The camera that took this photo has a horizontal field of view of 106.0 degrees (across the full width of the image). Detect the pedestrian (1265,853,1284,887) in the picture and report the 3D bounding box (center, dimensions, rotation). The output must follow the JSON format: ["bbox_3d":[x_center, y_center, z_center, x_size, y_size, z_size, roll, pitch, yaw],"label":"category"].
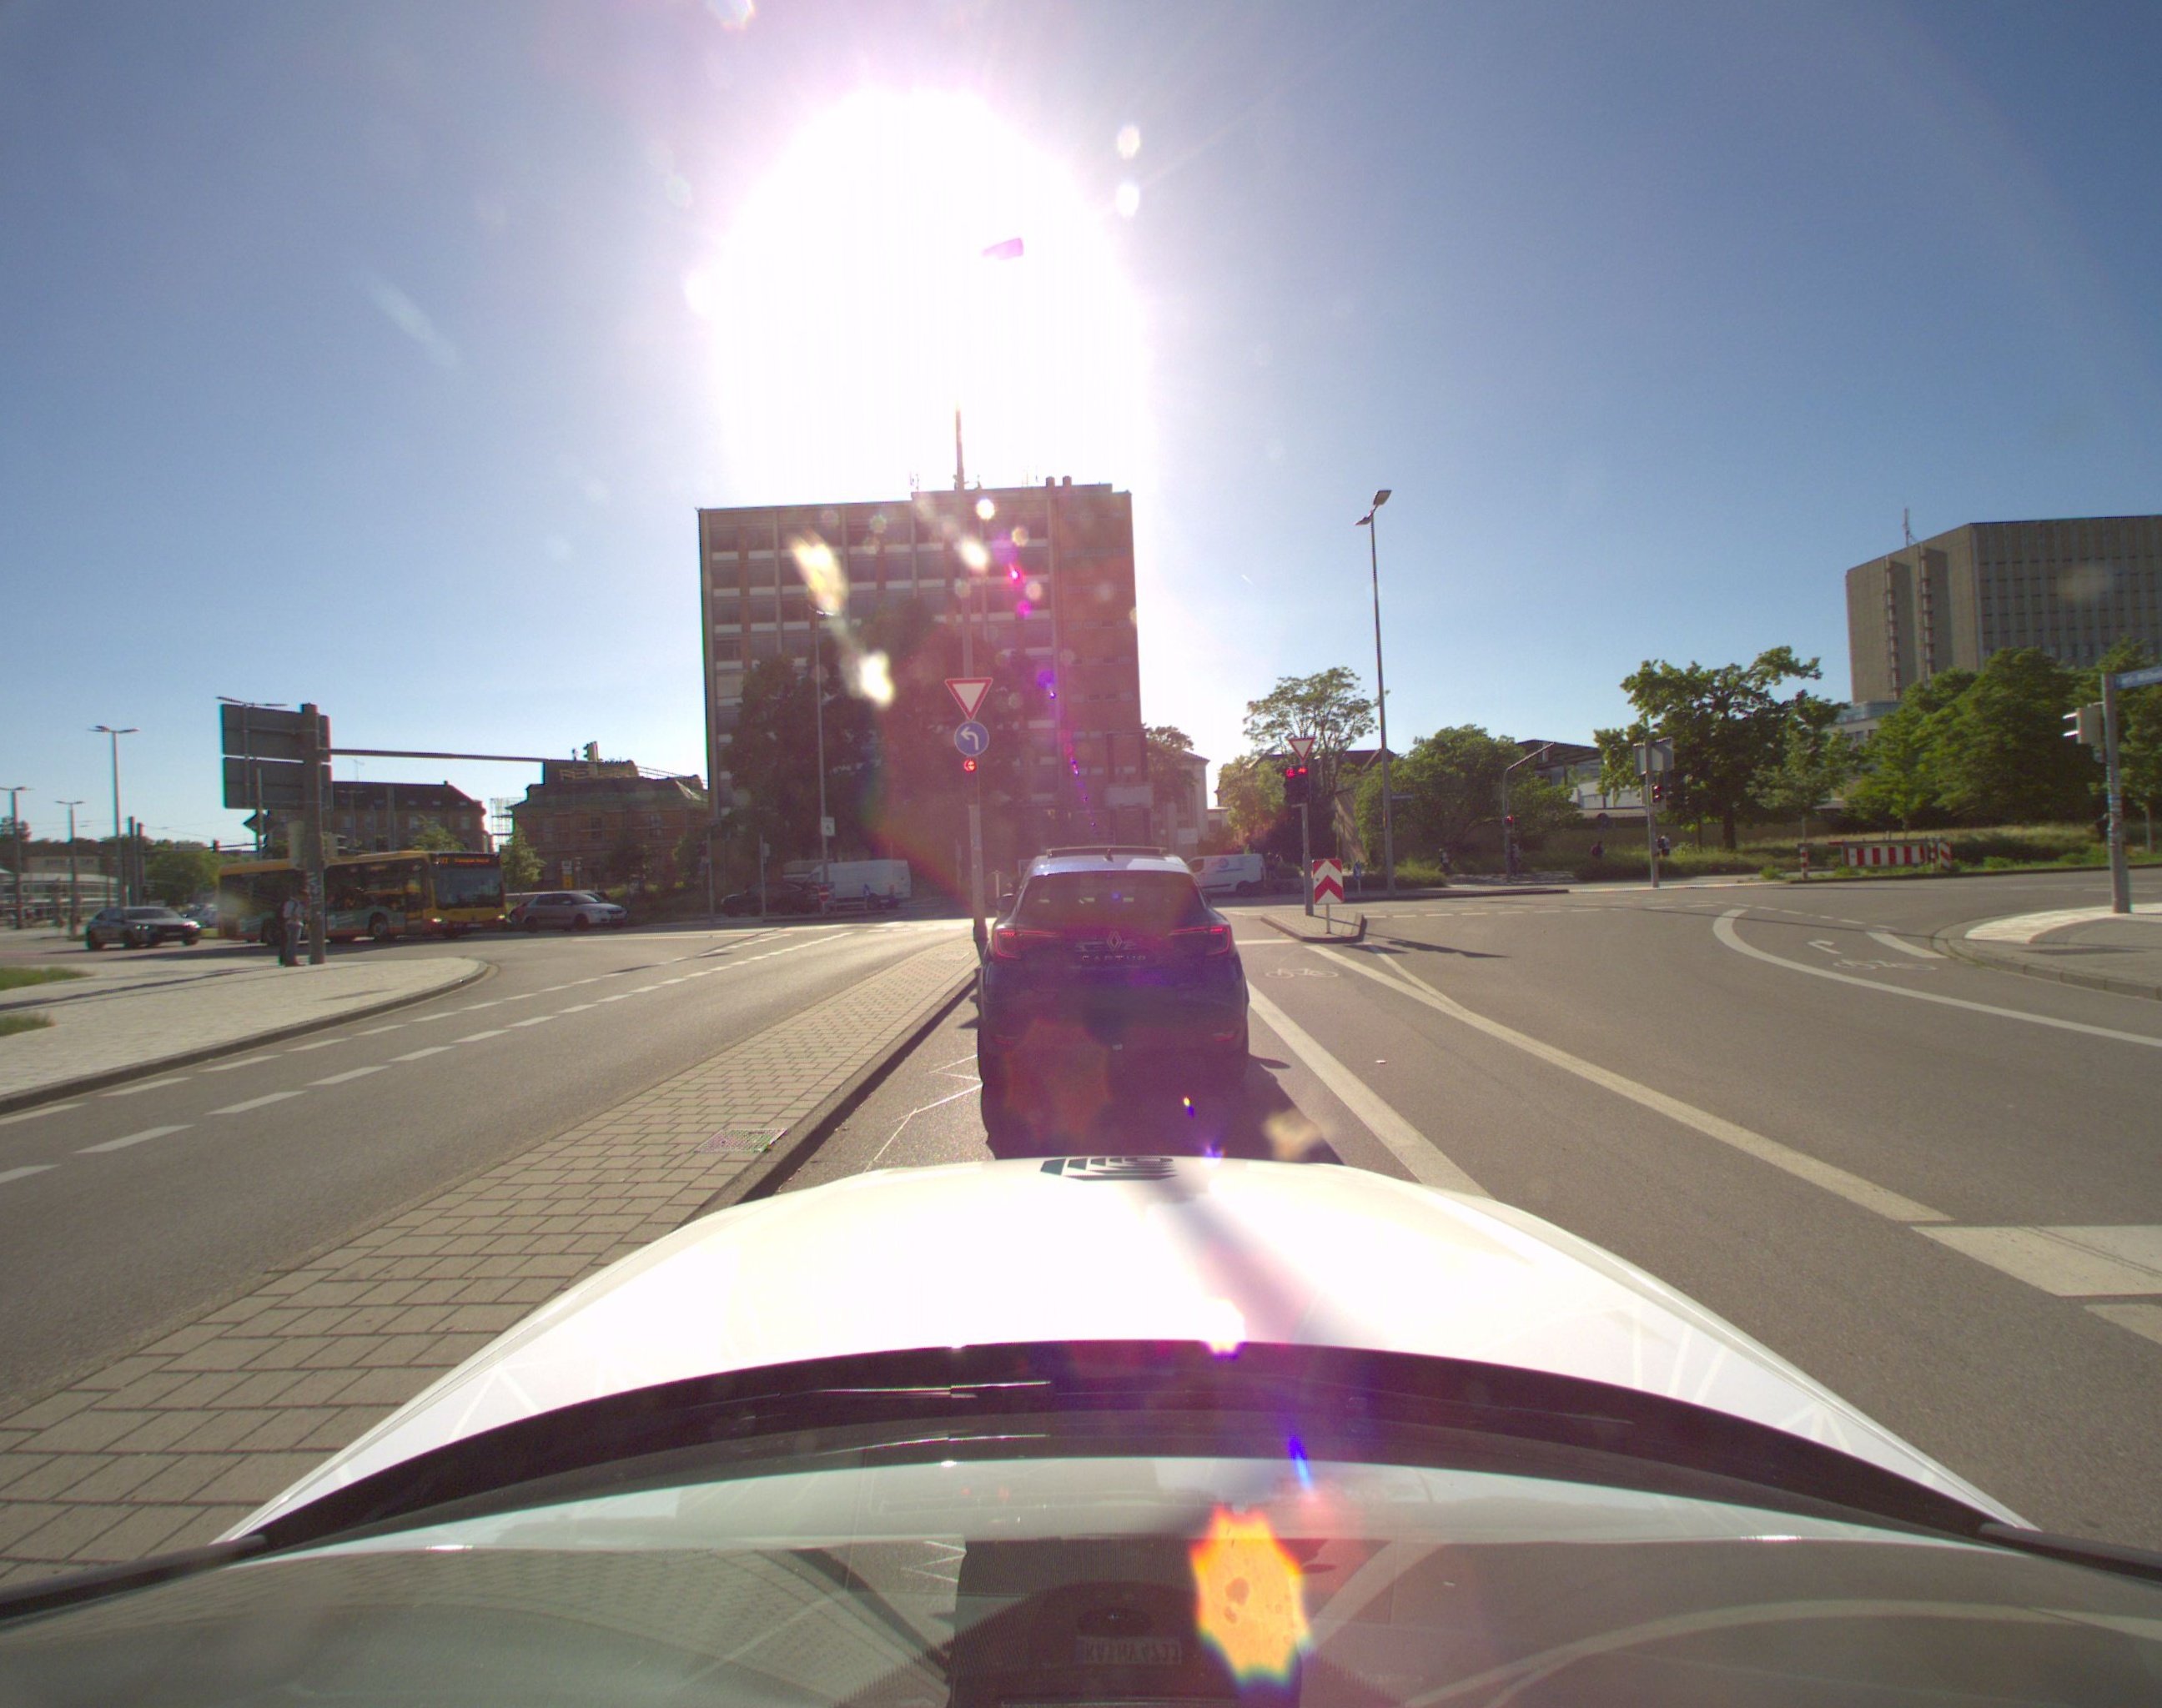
[{"bbox_3d":[10.621,0.867,44.692,0.926,1.855,0.809,-3,-1,11],"label":"pedestrian"}]

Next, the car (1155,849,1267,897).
[{"bbox_3d":[6.118,0.873,38.106,4.964,2.013,2.080,-3,0,13],"label":"car"}]

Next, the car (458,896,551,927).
[{"bbox_3d":[-30.962,3.086,43.755,4.011,1.439,2.076,-3,0,20],"label":"car"}]

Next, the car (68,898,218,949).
[{"bbox_3d":[-40.035,2.967,34.808,4.697,1.861,2.011,-3,-1,10],"label":"car"}]

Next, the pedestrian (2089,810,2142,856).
[{"bbox_3d":[48.966,-0.972,38.560,1.181,2.079,0.983,-2,-1,5],"label":"pedestrian"}]

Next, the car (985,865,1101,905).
[{"bbox_3d":[-1.688,1.391,36.864,4.811,1.582,2.108,-3,0,11],"label":"car"}]

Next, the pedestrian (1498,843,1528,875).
[{"bbox_3d":[21.780,0.251,41.085,1.069,1.521,0.880,-2,-1,6],"label":"pedestrian"}]

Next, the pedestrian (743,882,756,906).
[{"bbox_3d":[-22.162,2.671,54.483,0.528,1.571,0.559,-3,-1,26],"label":"pedestrian"}]

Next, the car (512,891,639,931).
[{"bbox_3d":[-18.954,2.133,30.594,3.817,1.403,1.899,-2,-3,14],"label":"car"}]

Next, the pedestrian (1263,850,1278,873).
[{"bbox_3d":[14.647,0.607,62.975,0.949,1.741,0.984,-2,-1,2],"label":"pedestrian"}]

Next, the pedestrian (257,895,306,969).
[{"bbox_3d":[-19.097,1.841,19.459,0.627,1.697,0.608,-3,-1,25],"label":"pedestrian"}]

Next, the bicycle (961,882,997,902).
[{"bbox_3d":[-5.589,2.066,44.619,1.879,1.007,0.692,-1,-4,-45],"label":"bicycle"}]

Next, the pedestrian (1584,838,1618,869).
[{"bbox_3d":[26.536,-0.034,41.557,1.140,1.521,0.944,-2,-1,7],"label":"pedestrian"}]

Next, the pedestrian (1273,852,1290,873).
[{"bbox_3d":[15.333,0.644,62.266,0.932,1.613,1.176,-2,-1,2],"label":"pedestrian"}]

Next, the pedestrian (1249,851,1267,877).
[{"bbox_3d":[14.340,0.795,66.045,1.152,2.013,1.165,-2,-1,2],"label":"pedestrian"}]

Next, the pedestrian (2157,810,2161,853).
[{"bbox_3d":[53.640,-1.128,39.819,0.891,2.079,0.814,-2,-1,5],"label":"pedestrian"}]

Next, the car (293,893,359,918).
[{"bbox_3d":[-50.124,3.417,54.053,3.771,1.518,2.012,-3,0,27],"label":"car"}]

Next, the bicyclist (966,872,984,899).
[{"bbox_3d":[-5.778,1.711,44.475,0.642,1.412,0.641,0,-4,-45],"label":"bicyclist"}]

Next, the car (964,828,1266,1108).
[{"bbox_3d":[0.236,0.681,6.817,1.788,1.655,3.853,-1,0,1],"label":"car"}]

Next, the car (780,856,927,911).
[{"bbox_3d":[-12.060,1.556,43.357,6.880,2.547,3.027,-3,0,17],"label":"car"}]

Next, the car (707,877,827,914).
[{"bbox_3d":[-14.964,2.002,38.871,4.995,1.673,2.006,-1,-3,12],"label":"car"}]

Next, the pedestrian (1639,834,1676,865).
[{"bbox_3d":[29.737,-0.210,42.025,1.123,1.521,0.992,-2,-1,5],"label":"pedestrian"}]

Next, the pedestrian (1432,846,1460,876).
[{"bbox_3d":[19.058,0.351,42.516,1.078,1.521,0.933,-2,-1,11],"label":"pedestrian"}]

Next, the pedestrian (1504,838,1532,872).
[{"bbox_3d":[22.842,0.056,42.595,0.957,1.732,0.928,-2,-1,8],"label":"pedestrian"}]

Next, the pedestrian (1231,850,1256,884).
[{"bbox_3d":[9.138,0.721,45.850,1.288,1.855,0.969,-3,-1,13],"label":"pedestrian"}]

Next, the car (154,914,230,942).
[{"bbox_3d":[-68.879,5.729,63.144,3.971,1.772,1.784,-4,0,2],"label":"car"}]

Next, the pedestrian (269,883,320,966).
[{"bbox_3d":[-18.146,1.614,18.792,0.673,1.855,0.608,-3,-1,25],"label":"pedestrian"}]

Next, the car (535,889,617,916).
[{"bbox_3d":[-31.023,2.994,50.056,4.013,1.439,2.075,-3,0,17],"label":"car"}]

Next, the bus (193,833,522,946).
[{"bbox_3d":[-26.521,1.343,29.743,12.320,3.570,3.266,-3,-1,19],"label":"bus"}]

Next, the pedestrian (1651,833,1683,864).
[{"bbox_3d":[29.701,-0.281,41.273,0.966,1.521,0.887,-2,-1,5],"label":"pedestrian"}]
